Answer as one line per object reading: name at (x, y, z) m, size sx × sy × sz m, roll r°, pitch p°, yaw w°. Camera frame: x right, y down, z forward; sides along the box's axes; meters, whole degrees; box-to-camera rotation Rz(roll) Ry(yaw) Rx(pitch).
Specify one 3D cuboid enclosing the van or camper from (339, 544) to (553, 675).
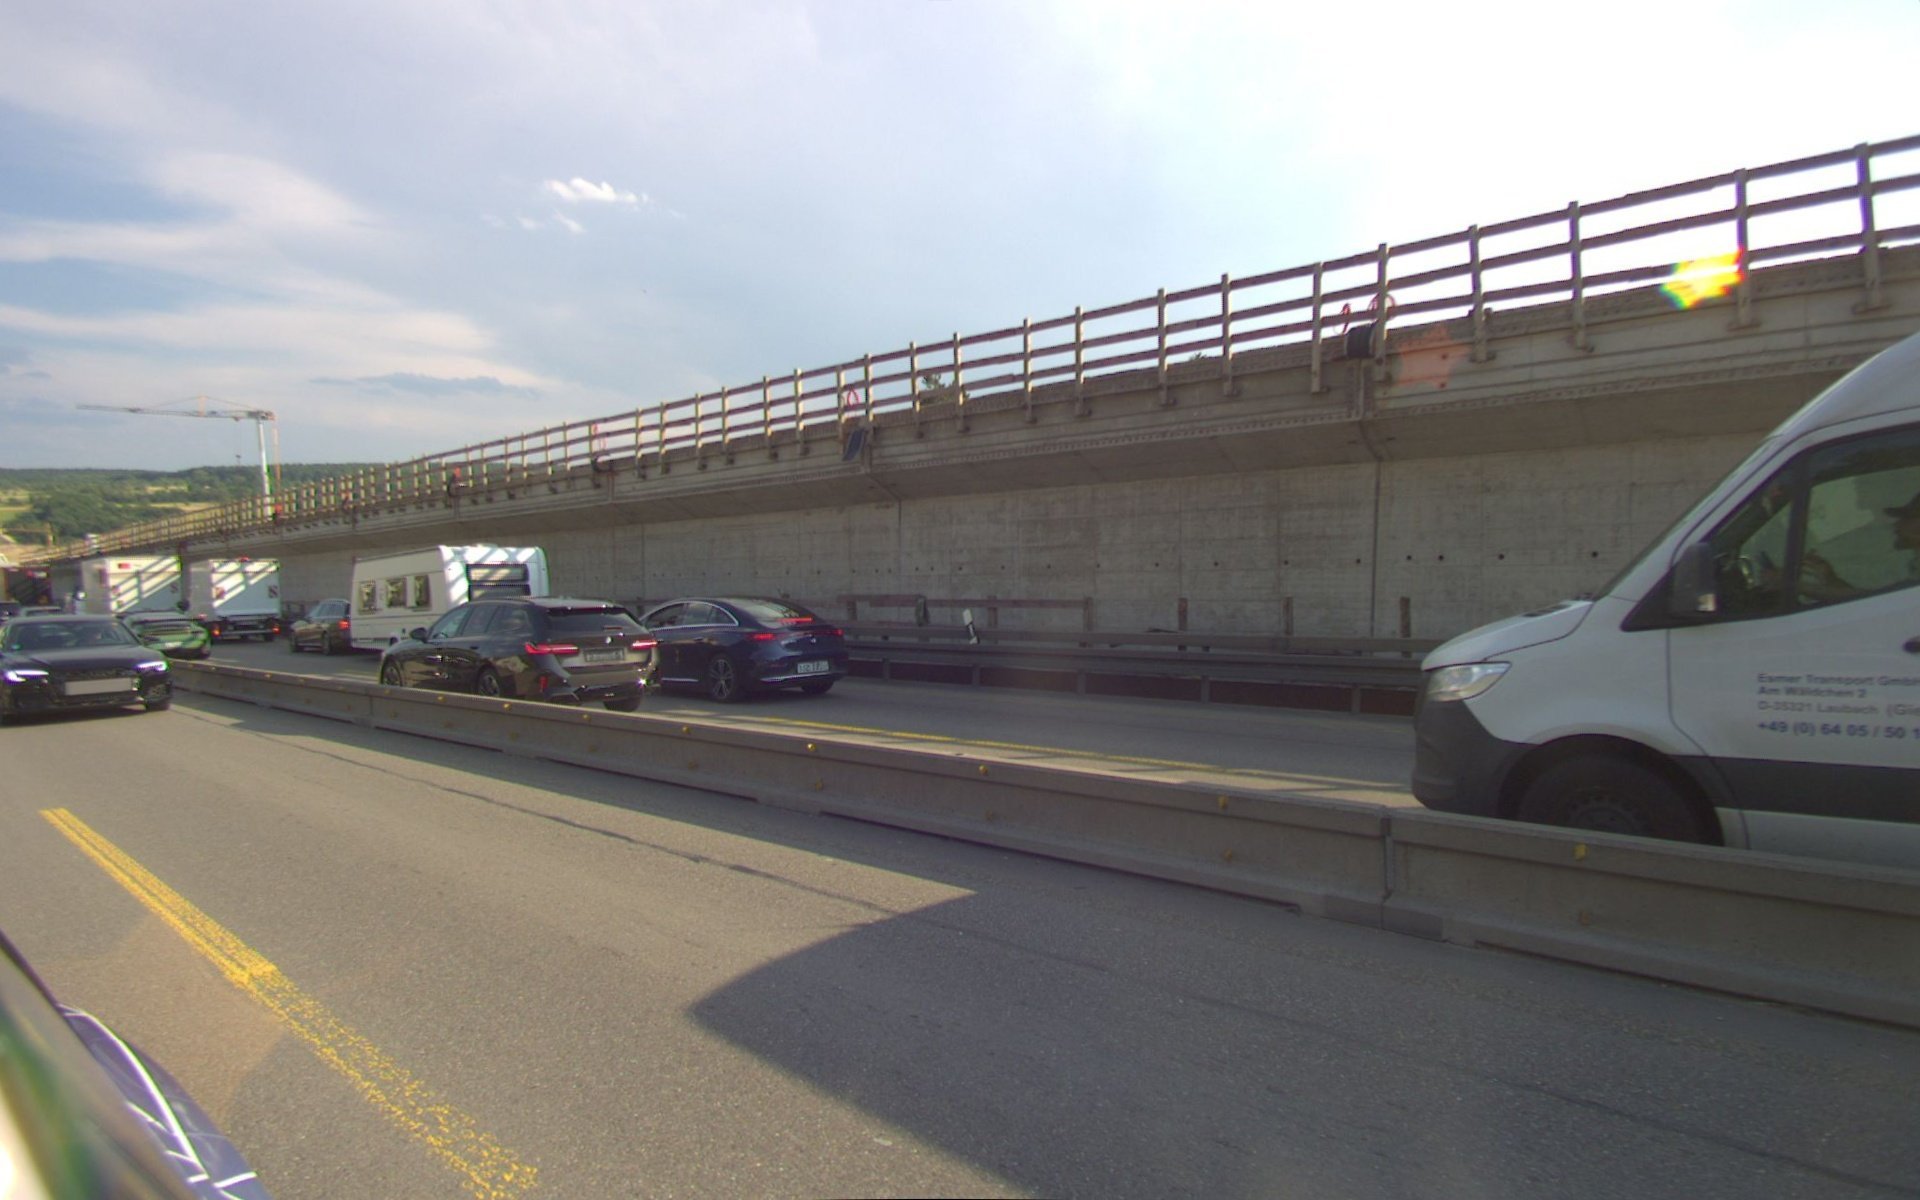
van or camper at (-12.200, 0.195, 23.753) m, size 6.453 × 2.682 × 2.287 m, roll -1°, pitch 1°, yaw 42°

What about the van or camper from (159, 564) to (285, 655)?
van or camper at (-26.737, 0.259, 36.556) m, size 6.220 × 3.011 × 2.296 m, roll 0°, pitch 2°, yaw 41°

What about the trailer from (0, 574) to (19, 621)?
trailer at (-92.562, -0.102, 96.508) m, size 14.022 × 4.171 × 2.736 m, roll -1°, pitch 3°, yaw 42°

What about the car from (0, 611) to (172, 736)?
car at (-13.260, 0.956, 14.902) m, size 4.348 × 1.429 × 1.848 m, roll 0°, pitch 3°, yaw 42°

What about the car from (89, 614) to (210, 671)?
car at (-21.754, 1.079, 27.110) m, size 4.237 × 1.335 × 1.763 m, roll -1°, pitch 2°, yaw 41°

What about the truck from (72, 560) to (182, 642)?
truck at (-38.491, 0.010, 46.658) m, size 8.138 × 3.450 × 2.686 m, roll 0°, pitch 1°, yaw 41°

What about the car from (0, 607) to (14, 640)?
car at (-53.123, 1.308, 55.117) m, size 4.688 × 1.657 × 1.813 m, roll 1°, pitch 4°, yaw 42°

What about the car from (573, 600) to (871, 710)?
car at (-3.778, 0.745, 15.530) m, size 4.897 × 1.432 × 1.952 m, roll -1°, pitch 0°, yaw 41°

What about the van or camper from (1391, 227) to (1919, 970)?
van or camper at (5.004, -0.021, 3.736) m, size 5.953 × 2.727 × 1.973 m, roll -1°, pitch -1°, yaw 41°

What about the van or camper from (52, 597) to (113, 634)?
van or camper at (-49.735, 0.855, 57.341) m, size 4.921 × 1.936 × 1.897 m, roll 0°, pitch 3°, yaw 42°

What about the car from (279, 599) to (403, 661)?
car at (-17.279, 0.785, 28.150) m, size 4.782 × 1.542 × 1.623 m, roll 0°, pitch 1°, yaw 42°

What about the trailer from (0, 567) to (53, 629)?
trailer at (-71.709, -0.229, 76.760) m, size 13.770 × 4.270 × 2.882 m, roll 1°, pitch 4°, yaw 43°

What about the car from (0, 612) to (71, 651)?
car at (-39.361, 1.313, 43.026) m, size 4.457 × 1.461 × 1.746 m, roll -1°, pitch 3°, yaw 41°

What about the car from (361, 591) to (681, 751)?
car at (-5.827, 0.747, 13.115) m, size 4.866 × 1.605 × 1.819 m, roll 0°, pitch 4°, yaw 41°
